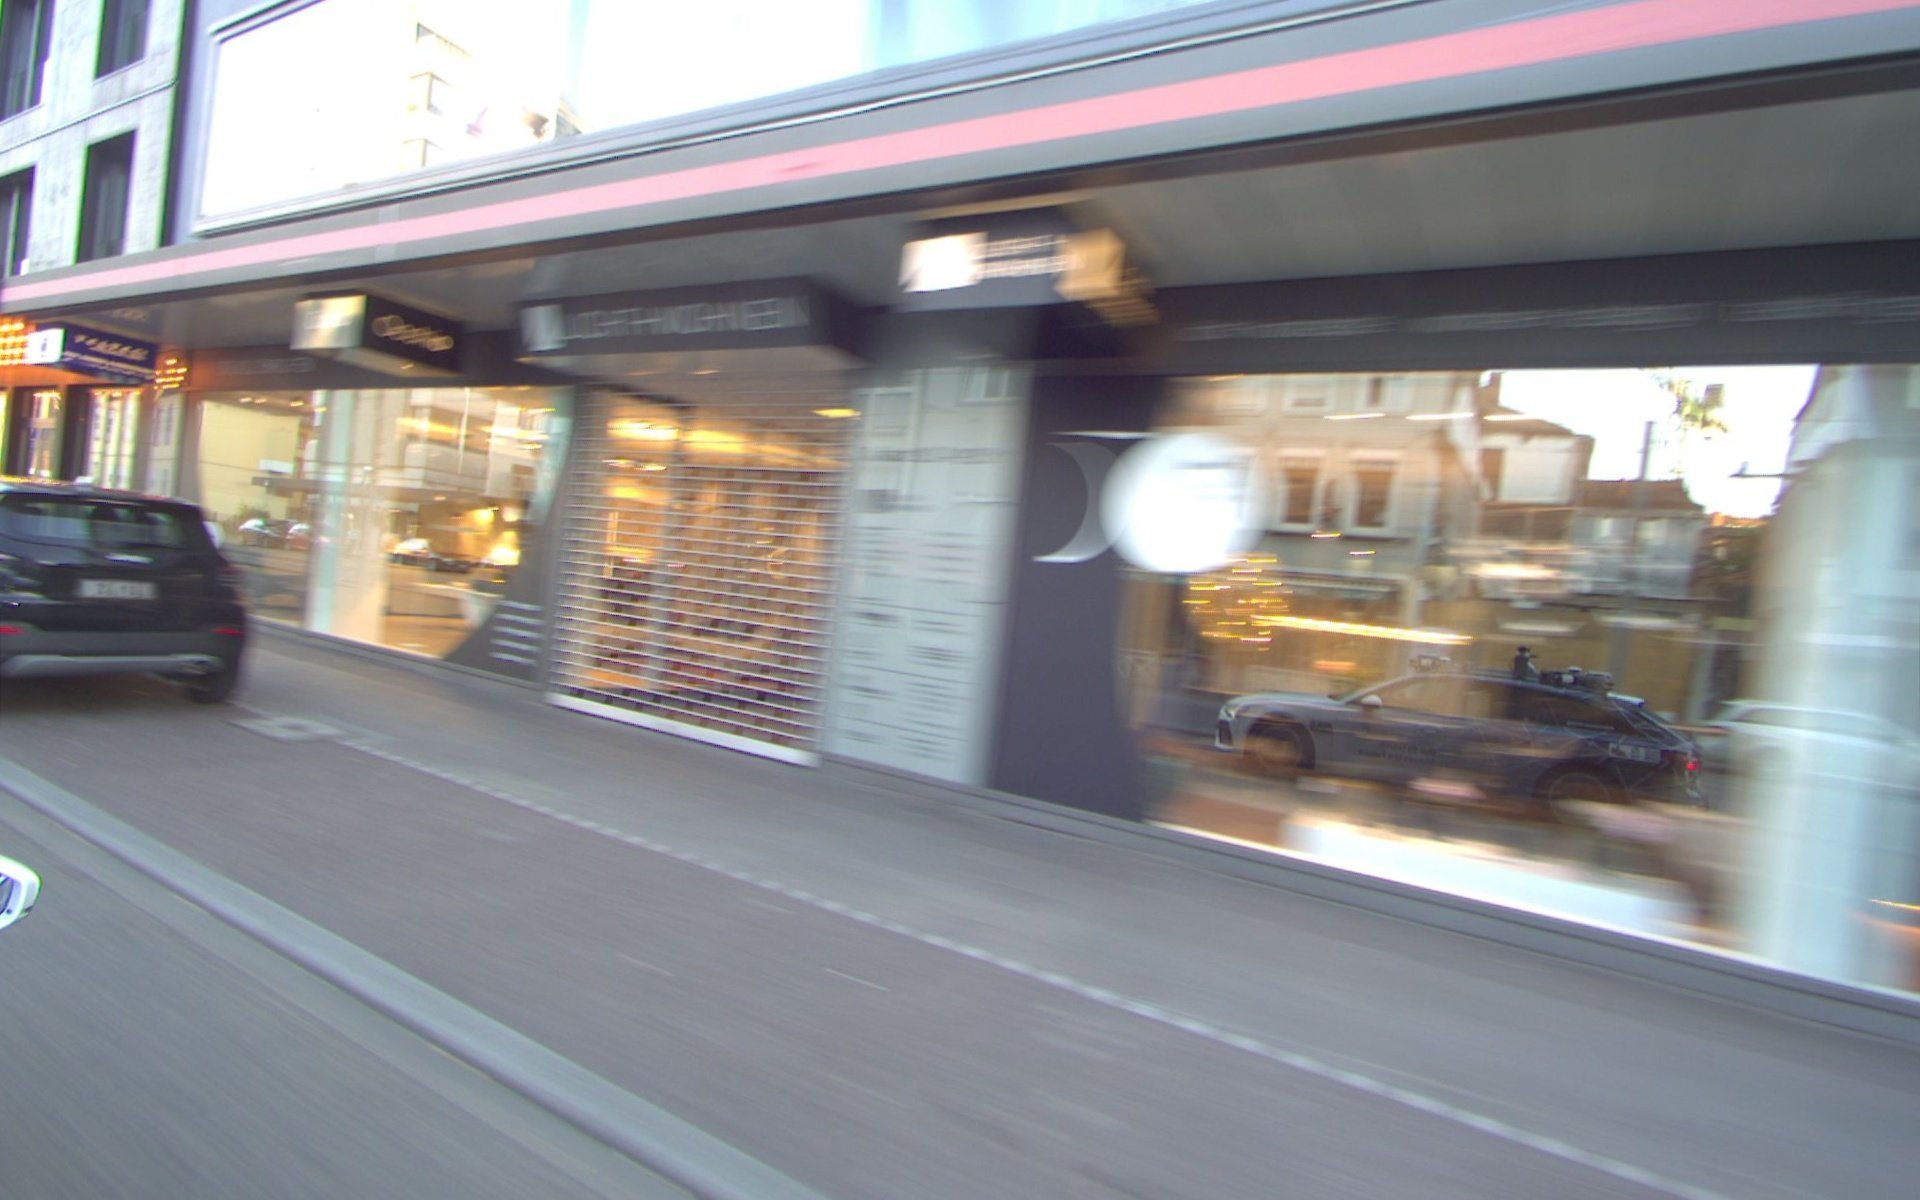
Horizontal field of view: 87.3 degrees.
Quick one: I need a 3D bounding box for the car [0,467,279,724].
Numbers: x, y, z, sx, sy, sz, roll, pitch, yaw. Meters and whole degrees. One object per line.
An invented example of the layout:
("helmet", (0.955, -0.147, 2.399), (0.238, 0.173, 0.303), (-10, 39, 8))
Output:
("car", (-7.159, -0.157, 7.629), (3.899, 1.560, 1.742), (6, 0, 31))
